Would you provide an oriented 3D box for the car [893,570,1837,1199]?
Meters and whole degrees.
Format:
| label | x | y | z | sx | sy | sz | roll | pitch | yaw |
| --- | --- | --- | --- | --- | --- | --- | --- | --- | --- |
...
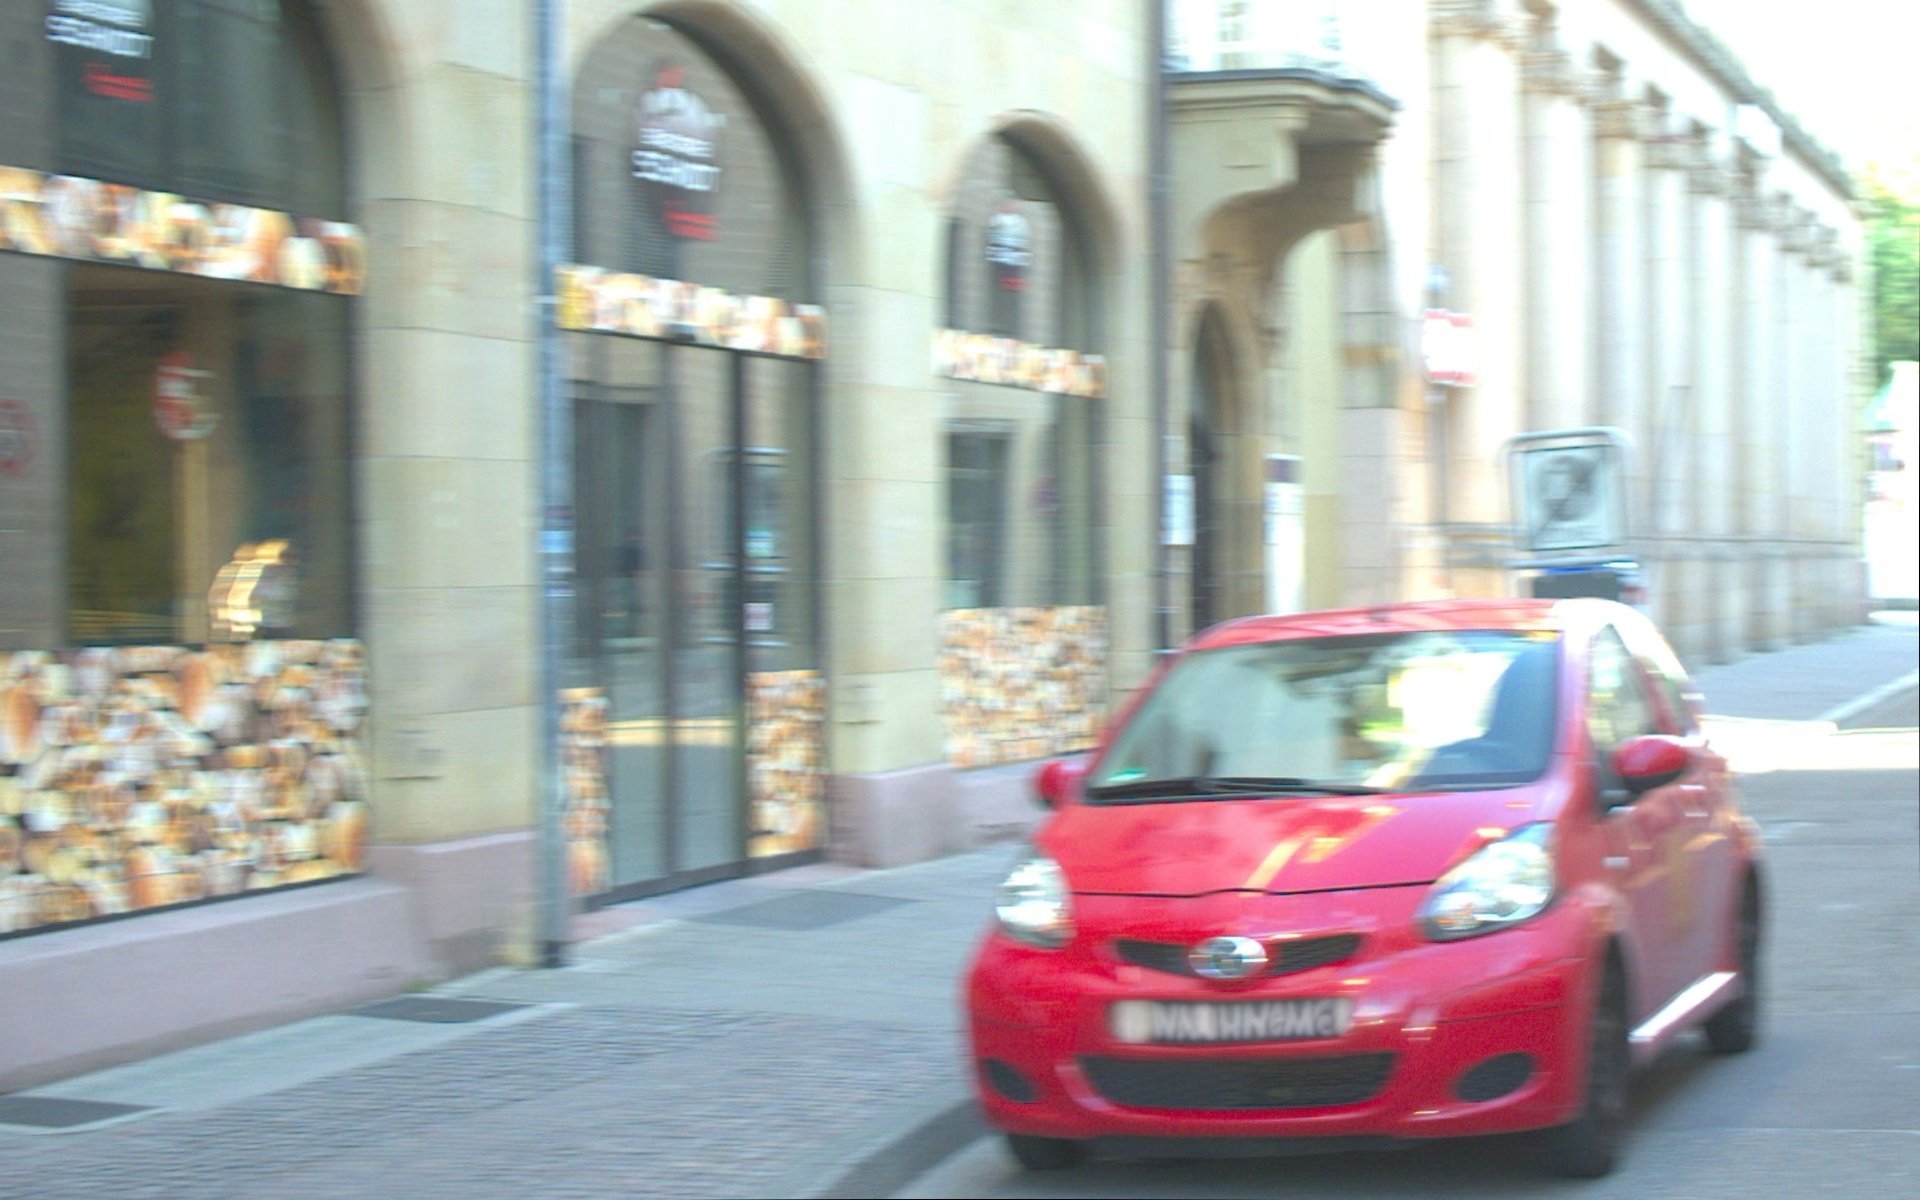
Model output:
| label | x | y | z | sx | sy | sz | roll | pitch | yaw |
| --- | --- | --- | --- | --- | --- | --- | --- | --- | --- |
| car | 1.369 | 0.710 | 9.867 | 1.659 | 1.465 | 3.928 | -3 | 0 | 22 |

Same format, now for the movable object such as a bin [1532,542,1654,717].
| label | x | y | z | sx | sy | sz | roll | pitch | yaw |
| --- | --- | --- | --- | --- | --- | --- | --- | --- | --- |
| movable object such as a bin | 5.604 | 0.240 | 30.395 | 0.830 | 1.498 | 1.290 | 0 | 1 | 22 |
